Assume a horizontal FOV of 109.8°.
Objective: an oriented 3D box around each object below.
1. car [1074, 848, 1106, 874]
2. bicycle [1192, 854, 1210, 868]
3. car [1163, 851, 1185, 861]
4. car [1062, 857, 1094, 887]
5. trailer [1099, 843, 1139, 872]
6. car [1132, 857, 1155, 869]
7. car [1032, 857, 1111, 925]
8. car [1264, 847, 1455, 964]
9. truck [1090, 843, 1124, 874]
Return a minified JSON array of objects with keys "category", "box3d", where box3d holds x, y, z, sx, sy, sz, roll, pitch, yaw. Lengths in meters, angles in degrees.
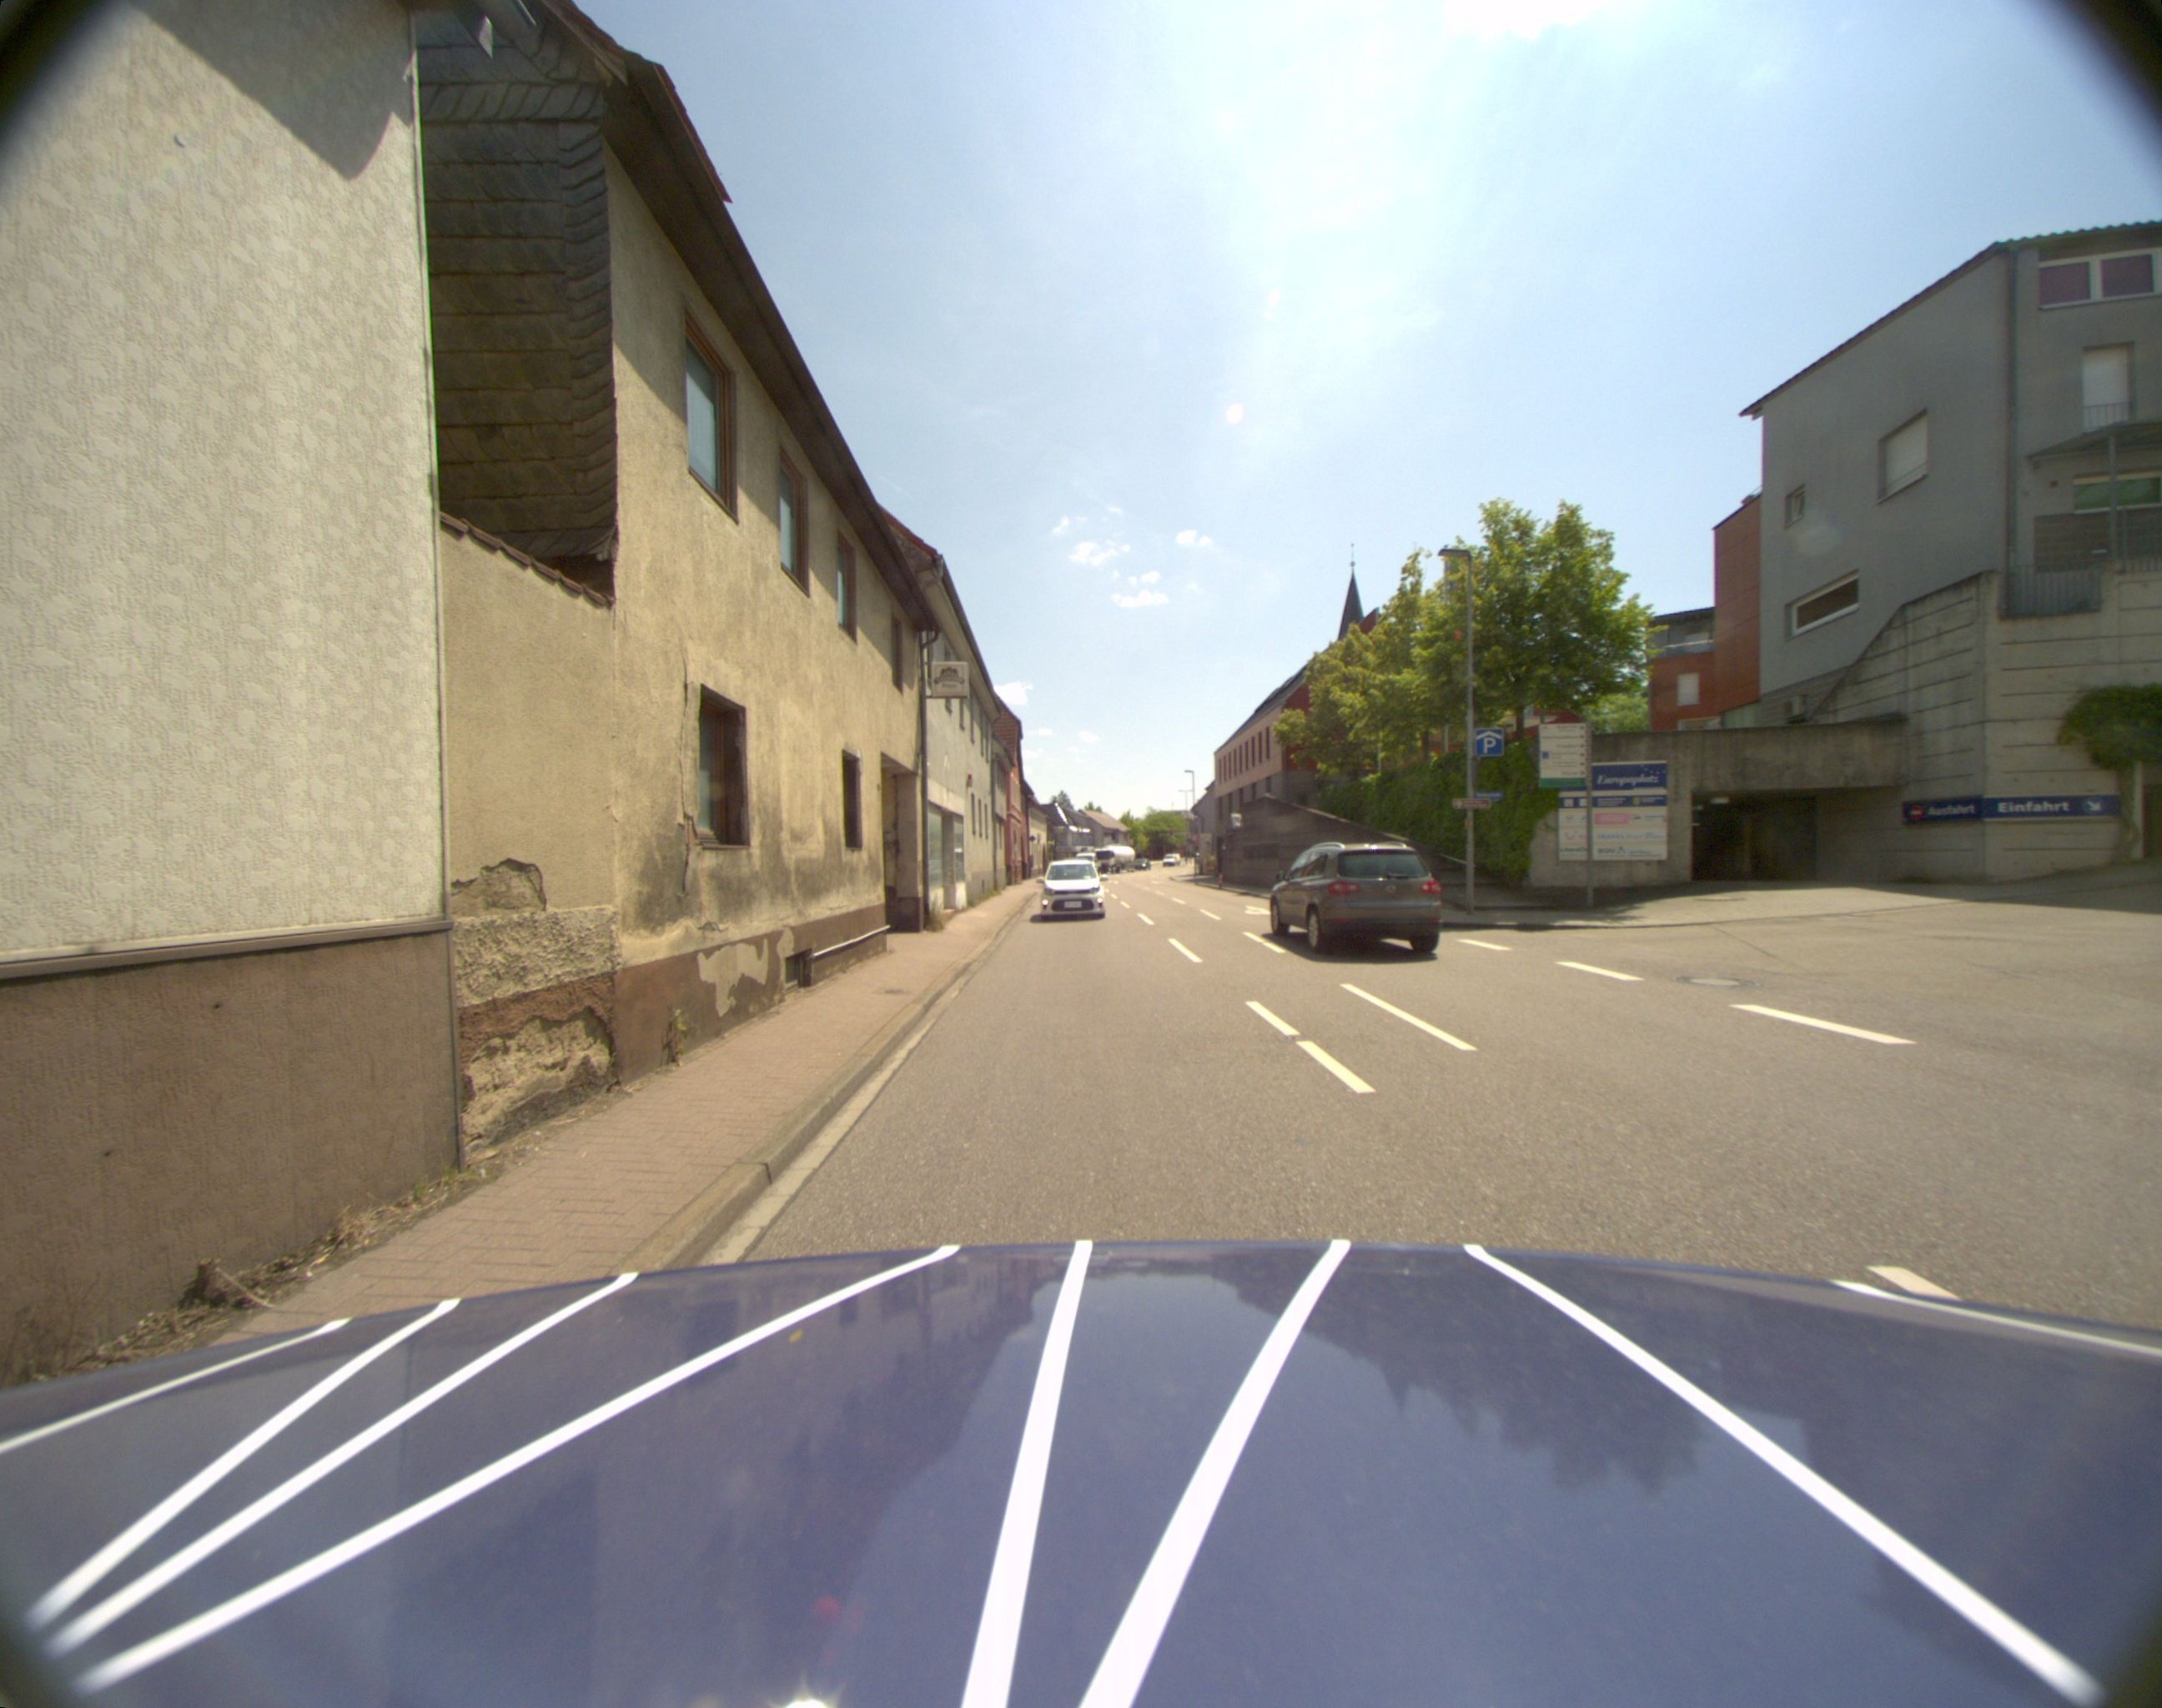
[{"category":"car","box3d":[0.958,0.691,77.551,2.172,2.548,4.830,-1,0,15]},{"category":"bicycle","box3d":[12.104,0.715,76.345,1.834,1.241,0.577,-3,-2,-35]},{"category":"car","box3d":[15.347,0.281,125.356,2.007,1.621,4.586,-1,0,29]},{"category":"car","box3d":[-0.188,0.999,43.788,1.725,1.541,4.303,-2,0,-1]},{"category":"trailer","box3d":[5.014,0.455,98.076,2.834,3.549,10.978,-1,0,16]},{"category":"car","box3d":[9.080,1.269,110.222,2.008,1.621,4.585,-1,0,22]},{"category":"car","box3d":[-0.144,0.902,20.331,1.724,1.541,4.304,-2,0,3]},{"category":"car","box3d":[4.331,0.717,12.524,1.762,1.625,4.049,0,0,2]},{"category":"truck","box3d":[3.185,0.499,91.559,2.844,3.549,5.475,-1,0,16]}]
